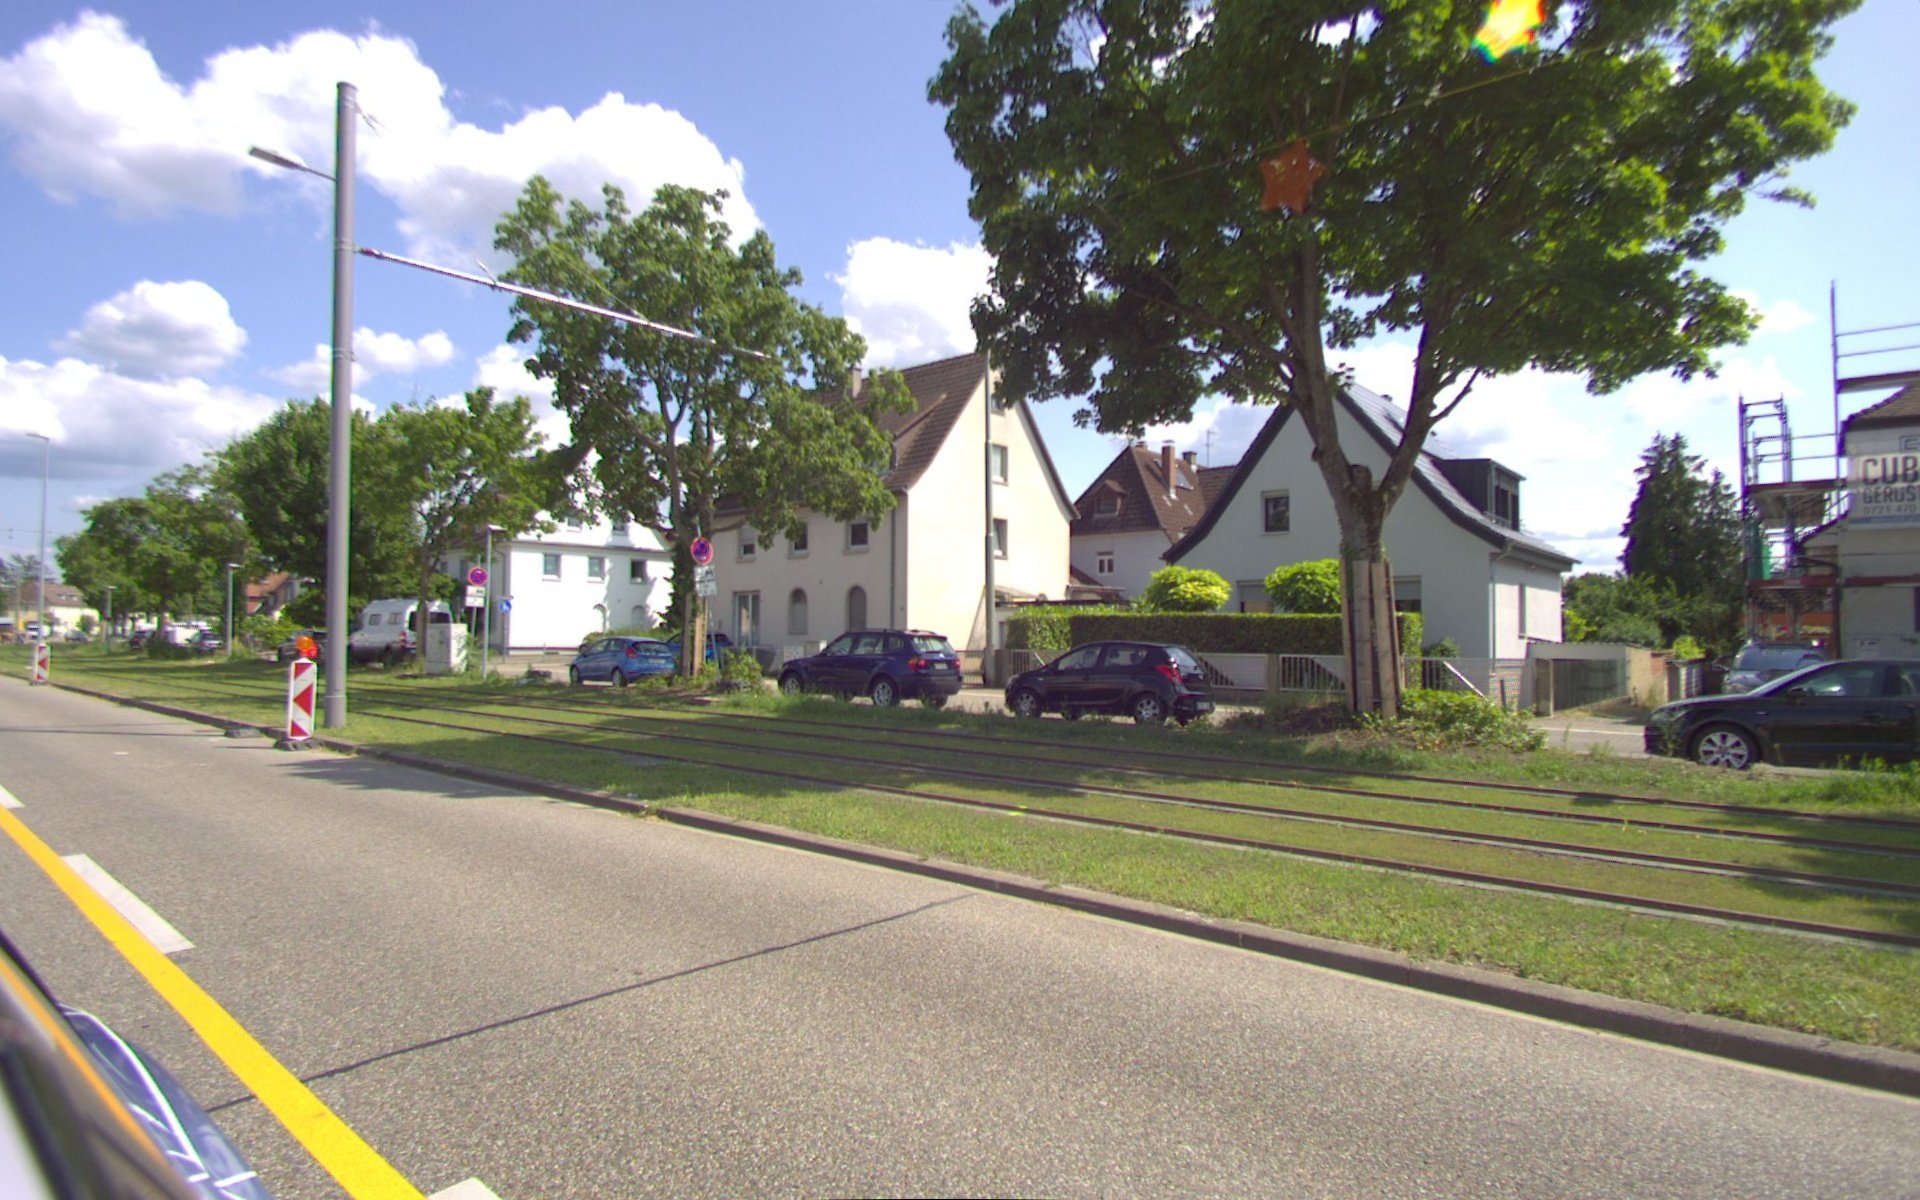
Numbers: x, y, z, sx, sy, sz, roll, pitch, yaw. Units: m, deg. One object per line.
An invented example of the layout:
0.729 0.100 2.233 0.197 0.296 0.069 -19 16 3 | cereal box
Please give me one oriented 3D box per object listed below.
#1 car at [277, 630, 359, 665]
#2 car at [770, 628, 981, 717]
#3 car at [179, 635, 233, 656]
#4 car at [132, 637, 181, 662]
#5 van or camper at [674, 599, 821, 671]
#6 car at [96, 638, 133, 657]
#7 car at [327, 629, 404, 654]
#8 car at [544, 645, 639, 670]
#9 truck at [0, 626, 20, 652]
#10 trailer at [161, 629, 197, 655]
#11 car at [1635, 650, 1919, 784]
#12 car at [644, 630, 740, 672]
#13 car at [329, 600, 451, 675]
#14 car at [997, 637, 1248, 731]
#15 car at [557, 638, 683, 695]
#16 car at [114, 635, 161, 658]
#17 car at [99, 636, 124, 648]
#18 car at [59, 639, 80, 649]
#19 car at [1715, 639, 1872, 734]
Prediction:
-29.251 2.149 46.051 4.485 1.517 1.972 -1 -3 42 | car
-1.891 1.501 21.975 4.386 1.704 1.974 -1 -3 38 | car
-44.193 2.662 59.281 3.834 1.101 1.762 -1 -3 41 | car
-55.515 3.418 69.885 4.099 1.590 1.885 -3 -8 42 | car
-10.043 1.709 48.500 2.633 3.246 6.657 -2 -3 41 | van or camper
-72.472 4.051 86.758 4.324 1.551 1.971 -1 -3 44 | car
-39.379 2.809 67.122 1.999 1.539 3.945 -5 -6 40 | car
-18.279 2.845 50.270 2.047 1.170 3.941 -1 -3 45 | car
-127.444 5.196 133.955 2.659 3.392 8.072 3 -4 -32 | truck
-48.348 2.604 62.625 2.281 1.530 1.286 -1 -4 41 | trailer
10.122 1.308 11.513 3.851 1.328 1.973 -1 -5 41 | car
-10.927 2.049 41.203 3.999 1.589 1.882 -1 -3 42 | car
-22.707 1.507 40.203 6.456 2.751 1.973 -2 -4 40 | car
2.847 1.435 18.136 3.998 1.450 1.973 -1 -4 41 | car
-9.648 1.843 28.625 3.890 1.447 1.734 -1 -3 44 | car
-59.460 3.365 73.166 4.321 1.551 1.972 -1 -3 42 | car
-144.298 7.145 172.186 1.811 2.070 3.879 2 -3 -16 | car
-140.255 6.888 159.430 1.488 1.510 3.586 2 -3 -25 | car
15.017 1.453 18.221 1.981 1.412 3.945 -1 -1 41 | car
